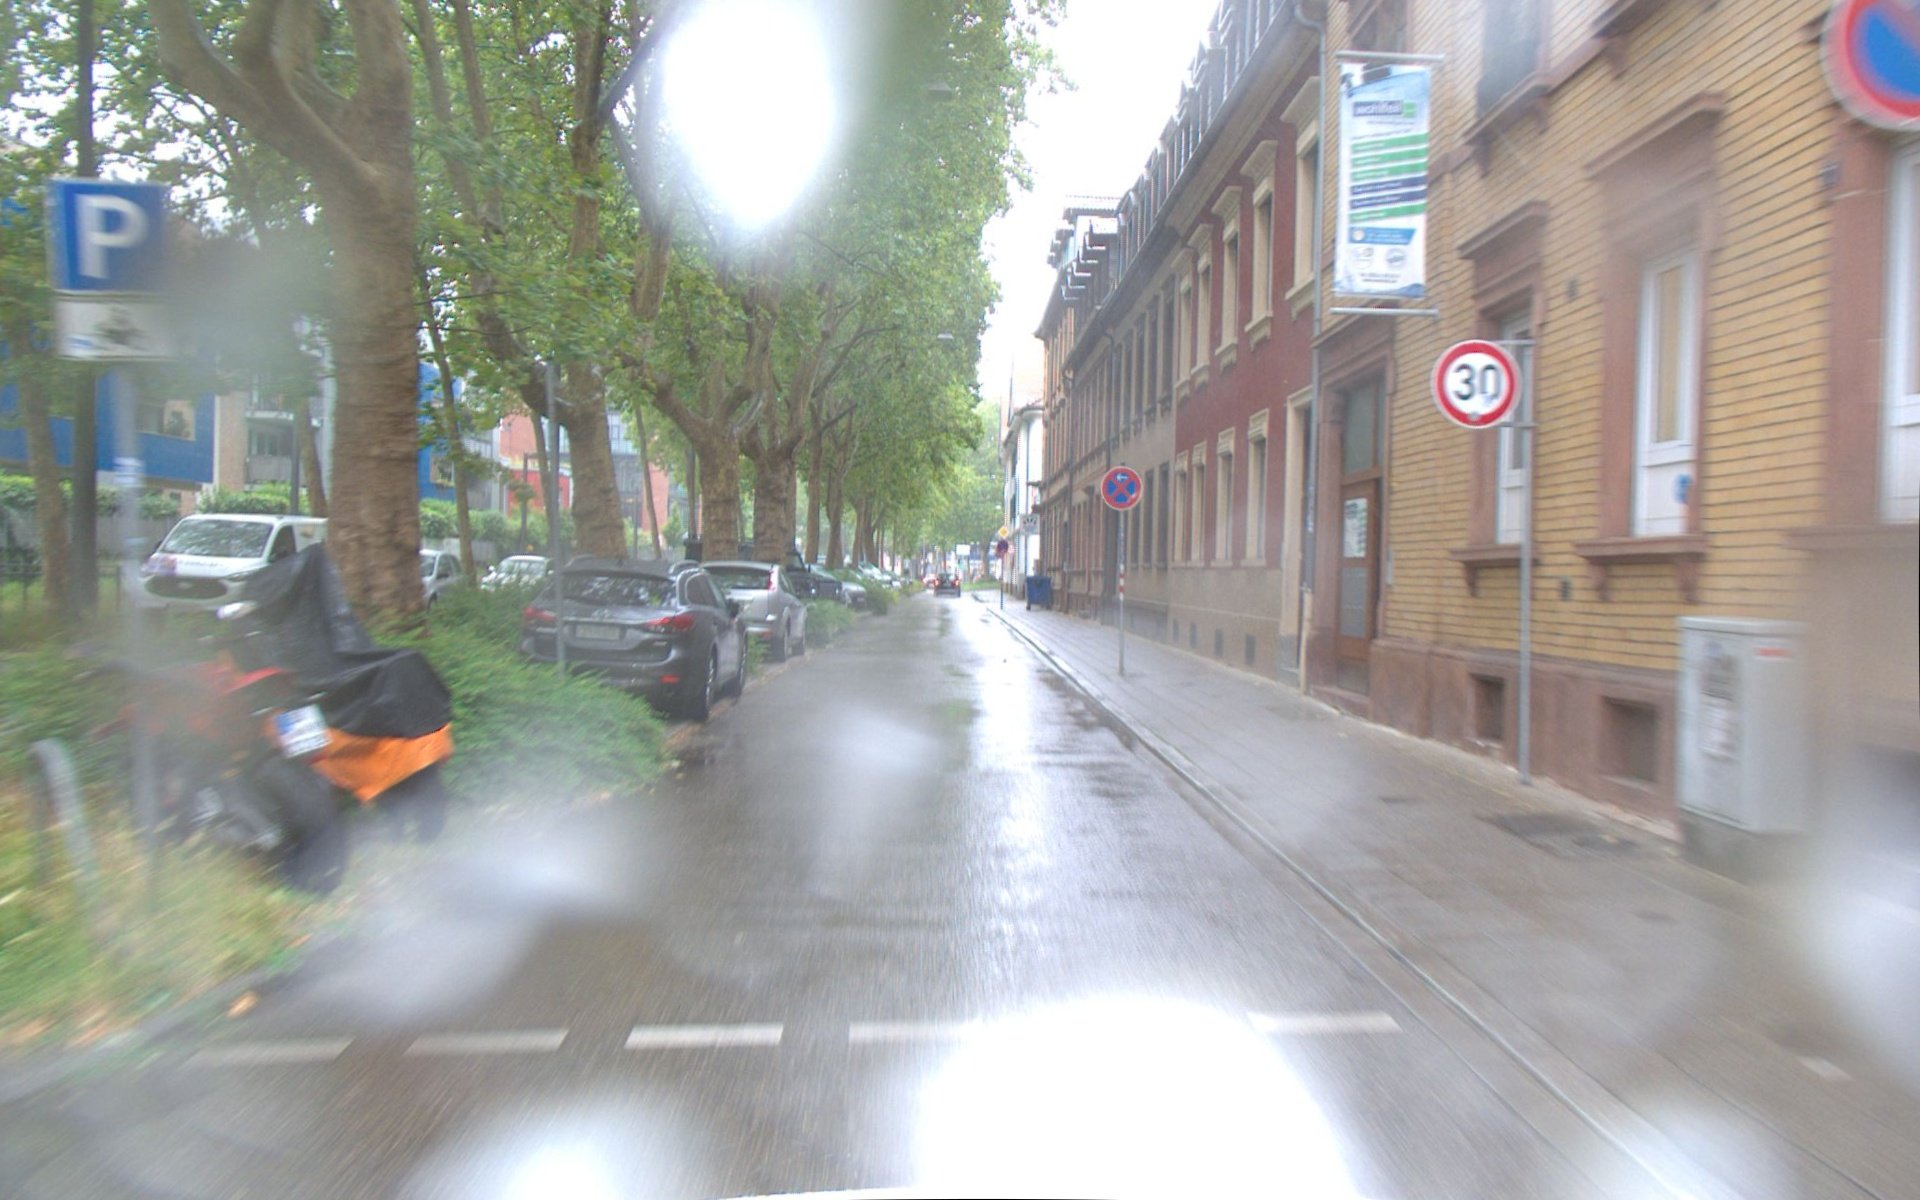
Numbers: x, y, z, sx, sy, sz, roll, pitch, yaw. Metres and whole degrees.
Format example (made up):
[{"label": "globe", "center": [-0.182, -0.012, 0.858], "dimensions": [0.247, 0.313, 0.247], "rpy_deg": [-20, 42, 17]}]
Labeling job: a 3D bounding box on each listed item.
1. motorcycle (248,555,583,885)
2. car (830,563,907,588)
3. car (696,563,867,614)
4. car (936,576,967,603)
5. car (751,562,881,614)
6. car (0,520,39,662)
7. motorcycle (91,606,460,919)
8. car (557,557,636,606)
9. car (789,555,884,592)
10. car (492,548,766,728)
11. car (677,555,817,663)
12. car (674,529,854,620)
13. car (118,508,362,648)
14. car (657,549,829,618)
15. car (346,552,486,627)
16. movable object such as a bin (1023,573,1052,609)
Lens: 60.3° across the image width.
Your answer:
[{"label": "motorcycle", "center": [-2.957, 0.557, 8.853], "dimensions": [2.073, 1.526, 0.767], "rpy_deg": [3, 1, 43]}, {"label": "car", "center": [-5.603, -1.477, 100.943], "dimensions": [4.461, 1.508, 1.772], "rpy_deg": [0, 1, 30]}, {"label": "car", "center": [-5.060, -0.347, 46.870], "dimensions": [4.555, 1.349, 1.845], "rpy_deg": [1, 1, 27]}, {"label": "car", "center": [-0.572, -0.688, 107.843], "dimensions": [1.953, 1.668, 4.000], "rpy_deg": [2, 1, -1]}, {"label": "car", "center": [-4.829, -0.412, 55.196], "dimensions": [3.977, 1.564, 1.832], "rpy_deg": [3, 2, 30]}, {"label": "car", "center": [-11.900, -0.087, 17.446], "dimensions": [1.865, 1.628, 4.467], "rpy_deg": [2, 1, -1]}, {"label": "motorcycle", "center": [-3.349, 0.690, 7.979], "dimensions": [2.106, 1.230, 0.863], "rpy_deg": [3, 1, 44]}, {"label": "car", "center": [-12.358, -0.667, 56.428], "dimensions": [1.866, 1.560, 4.215], "rpy_deg": [2, 1, -2]}, {"label": "car", "center": [-6.846, -1.458, 91.537], "dimensions": [5.020, 2.012, 2.099], "rpy_deg": [0, 1, 30]}, {"label": "car", "center": [-3.196, 0.284, 16.924], "dimensions": [1.857, 1.510, 4.621], "rpy_deg": [2, 1, -1]}, {"label": "car", "center": [-3.341, 0.083, 26.632], "dimensions": [1.694, 1.541, 4.207], "rpy_deg": [2, 1, -1]}, {"label": "car", "center": [-5.241, -0.701, 44.086], "dimensions": [4.562, 2.323, 2.006], "rpy_deg": [1, 1, 33]}, {"label": "car", "center": [-12.014, -0.405, 28.079], "dimensions": [2.013, 2.031, 5.431], "rpy_deg": [3, 1, -4]}, {"label": "car", "center": [-4.872, -0.396, 37.132], "dimensions": [3.424, 1.461, 1.780], "rpy_deg": [1, 1, 27]}, {"label": "car", "center": [-12.232, -0.277, 37.481], "dimensions": [1.866, 1.560, 4.215], "rpy_deg": [2, 1, -2]}, {"label": "movable object such as a bin", "center": [3.023, -0.344, 64.519], "dimensions": [1.000, 1.324, 1.367], "rpy_deg": [-2, 2, -1]}]
